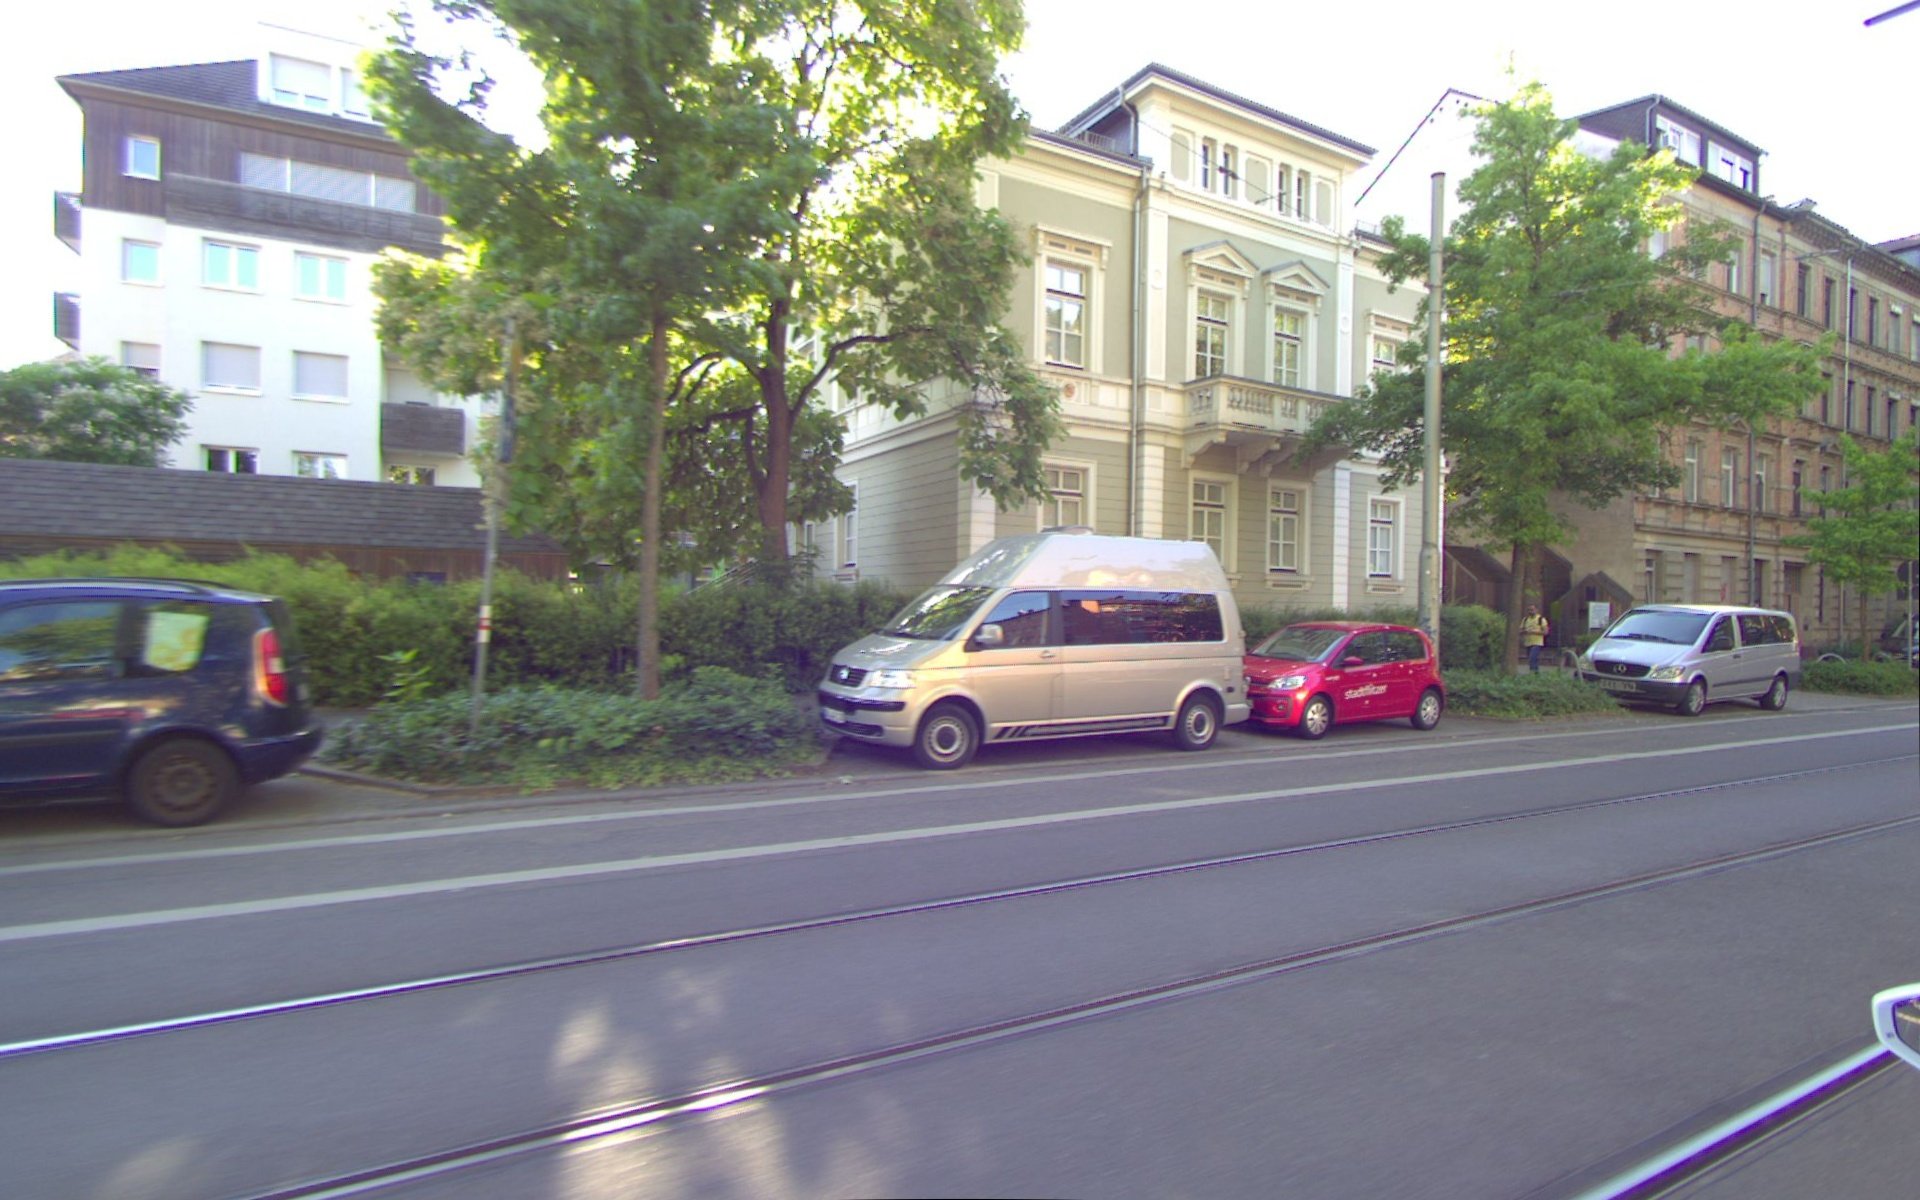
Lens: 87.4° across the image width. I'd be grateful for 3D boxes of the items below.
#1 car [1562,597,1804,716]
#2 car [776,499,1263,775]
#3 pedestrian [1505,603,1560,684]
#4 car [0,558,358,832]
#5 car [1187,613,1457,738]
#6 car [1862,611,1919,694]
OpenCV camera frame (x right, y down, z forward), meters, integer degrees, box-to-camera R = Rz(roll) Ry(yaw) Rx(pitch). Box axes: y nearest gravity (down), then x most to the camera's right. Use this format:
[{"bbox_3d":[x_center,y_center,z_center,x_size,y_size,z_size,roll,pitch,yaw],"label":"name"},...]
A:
[{"bbox_3d":[13.677,1.005,18.927,4.928,2.015,1.835,1,-1,-30],"label":"car"},{"bbox_3d":[0.799,0.397,11.622,5.284,2.541,2.291,1,-1,-32],"label":"car"},{"bbox_3d":[12.230,0.924,21.459,0.936,1.684,0.602,1,1,-29],"label":"pedestrian"},{"bbox_3d":[-6.745,0.591,7.006,4.208,1.712,1.985,1,-1,-28],"label":"car"},{"bbox_3d":[5.154,0.989,14.222,3.665,1.560,1.676,1,-1,-31],"label":"car"},{"bbox_3d":[25.772,1.350,26.272,4.780,2.040,1.983,1,-1,-32],"label":"car"}]
